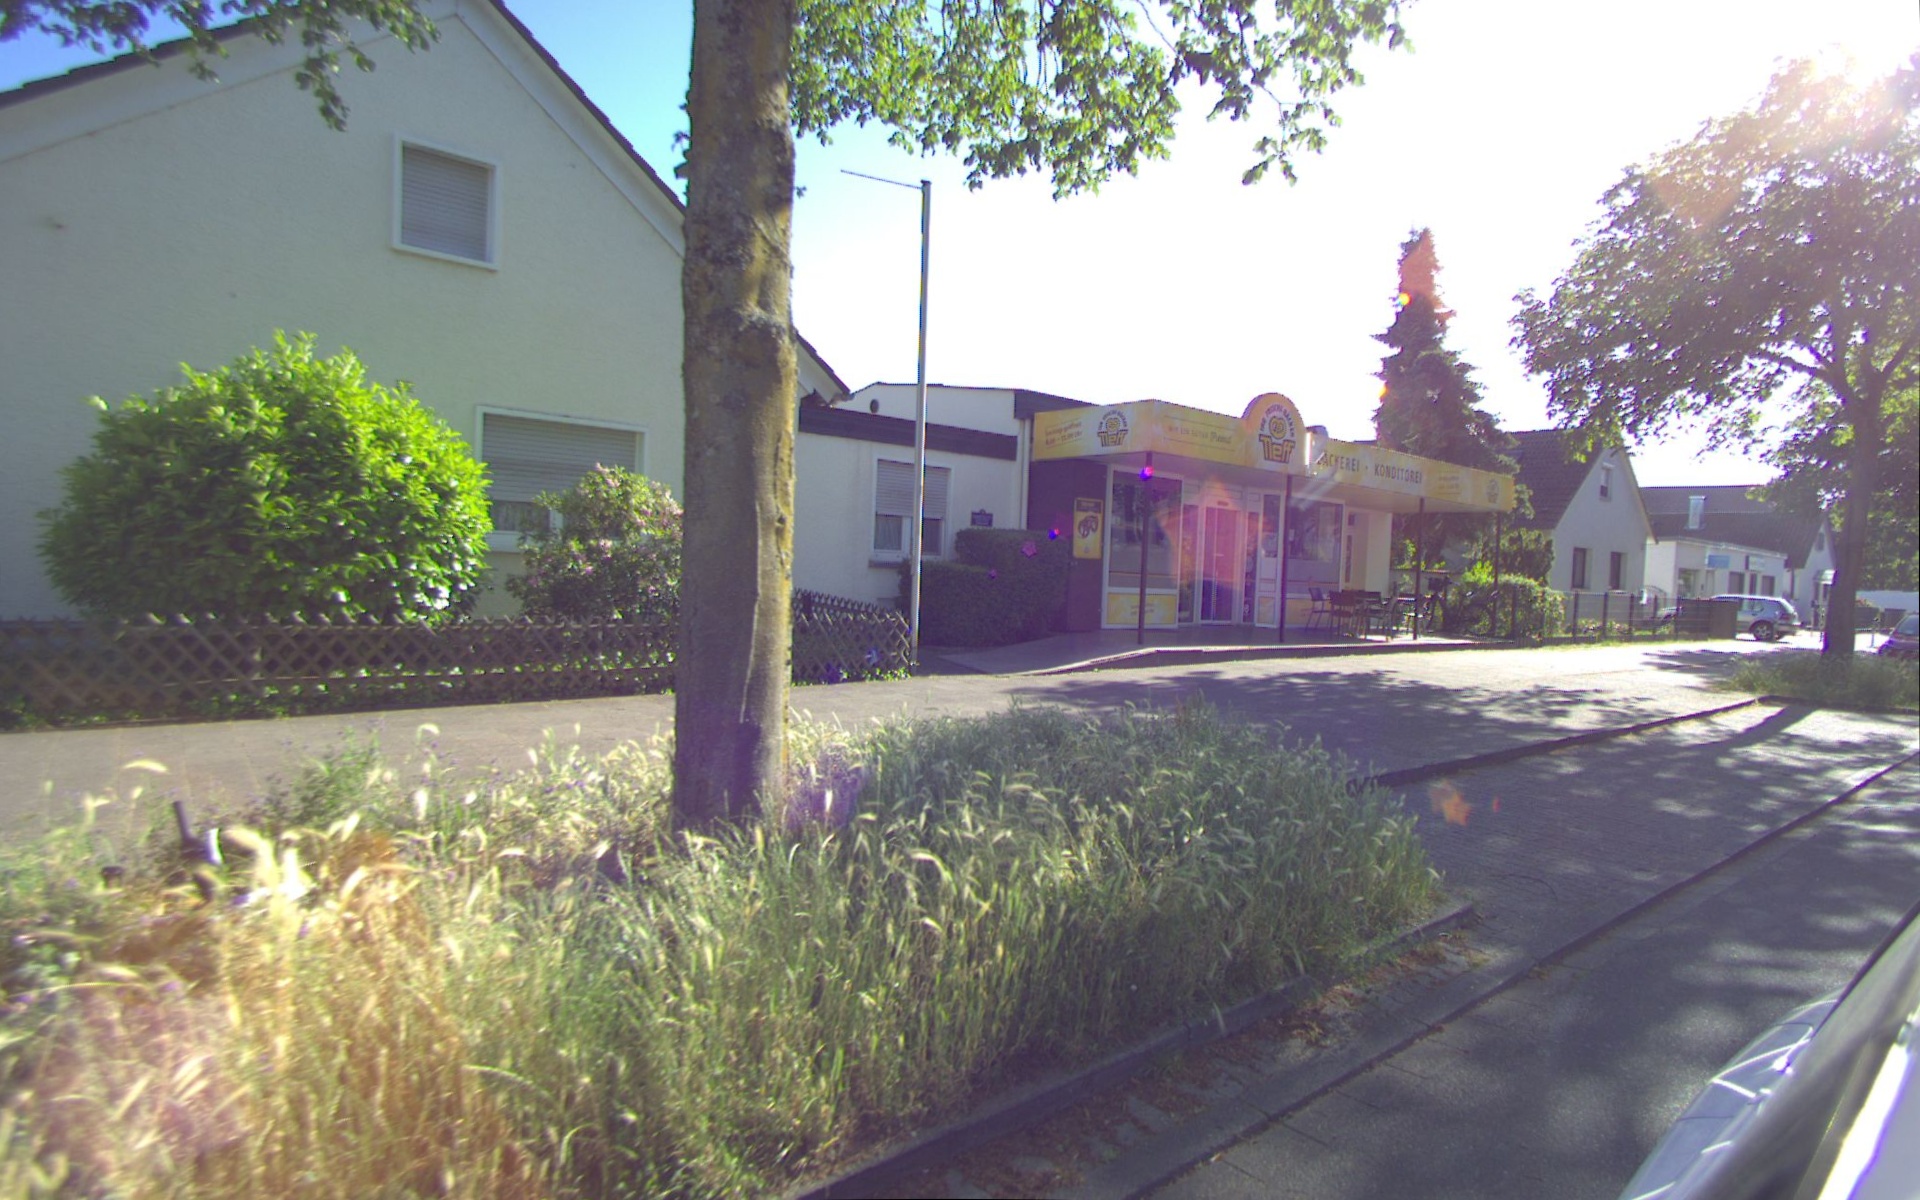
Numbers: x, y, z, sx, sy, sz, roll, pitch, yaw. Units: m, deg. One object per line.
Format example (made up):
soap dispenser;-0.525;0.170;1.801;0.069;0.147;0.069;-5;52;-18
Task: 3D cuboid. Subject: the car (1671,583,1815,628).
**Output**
car;26.490;0.184;34.322;1.667;1.457;3.616;0;0;-42

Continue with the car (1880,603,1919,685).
car;19.380;0.849;19.602;3.709;1.439;1.691;-1;4;-39
